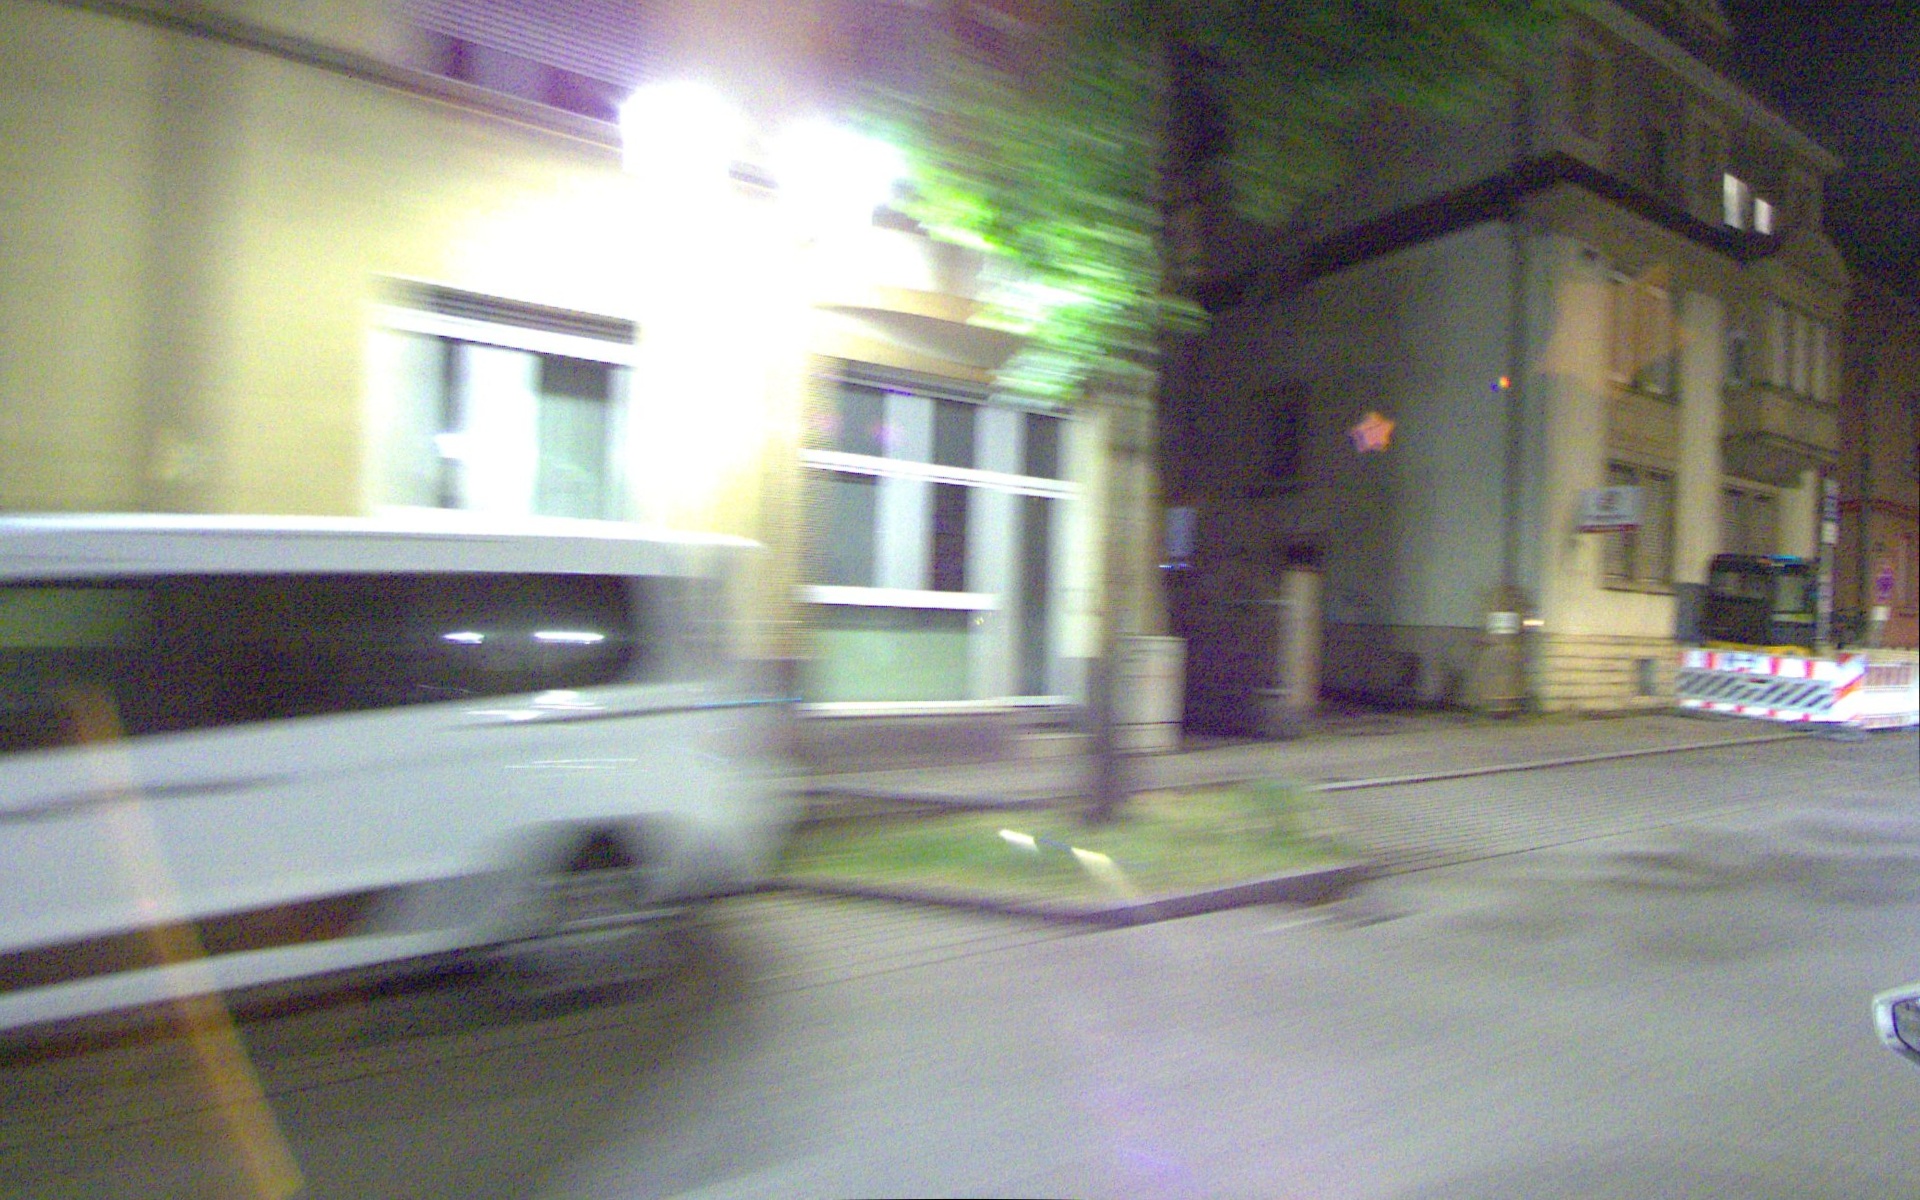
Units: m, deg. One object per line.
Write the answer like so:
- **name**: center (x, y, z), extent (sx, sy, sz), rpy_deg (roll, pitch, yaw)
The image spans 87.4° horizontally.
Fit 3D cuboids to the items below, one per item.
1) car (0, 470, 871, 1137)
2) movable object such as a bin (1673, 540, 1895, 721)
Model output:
- **car**: center (-2.898, 0.566, 3.777), extent (4.761, 1.868, 1.872), rpy_deg (2, 0, -32)
- **movable object such as a bin**: center (13.491, 0.494, 16.396), extent (3.864, 2.661, 1.564), rpy_deg (2, -1, -30)
